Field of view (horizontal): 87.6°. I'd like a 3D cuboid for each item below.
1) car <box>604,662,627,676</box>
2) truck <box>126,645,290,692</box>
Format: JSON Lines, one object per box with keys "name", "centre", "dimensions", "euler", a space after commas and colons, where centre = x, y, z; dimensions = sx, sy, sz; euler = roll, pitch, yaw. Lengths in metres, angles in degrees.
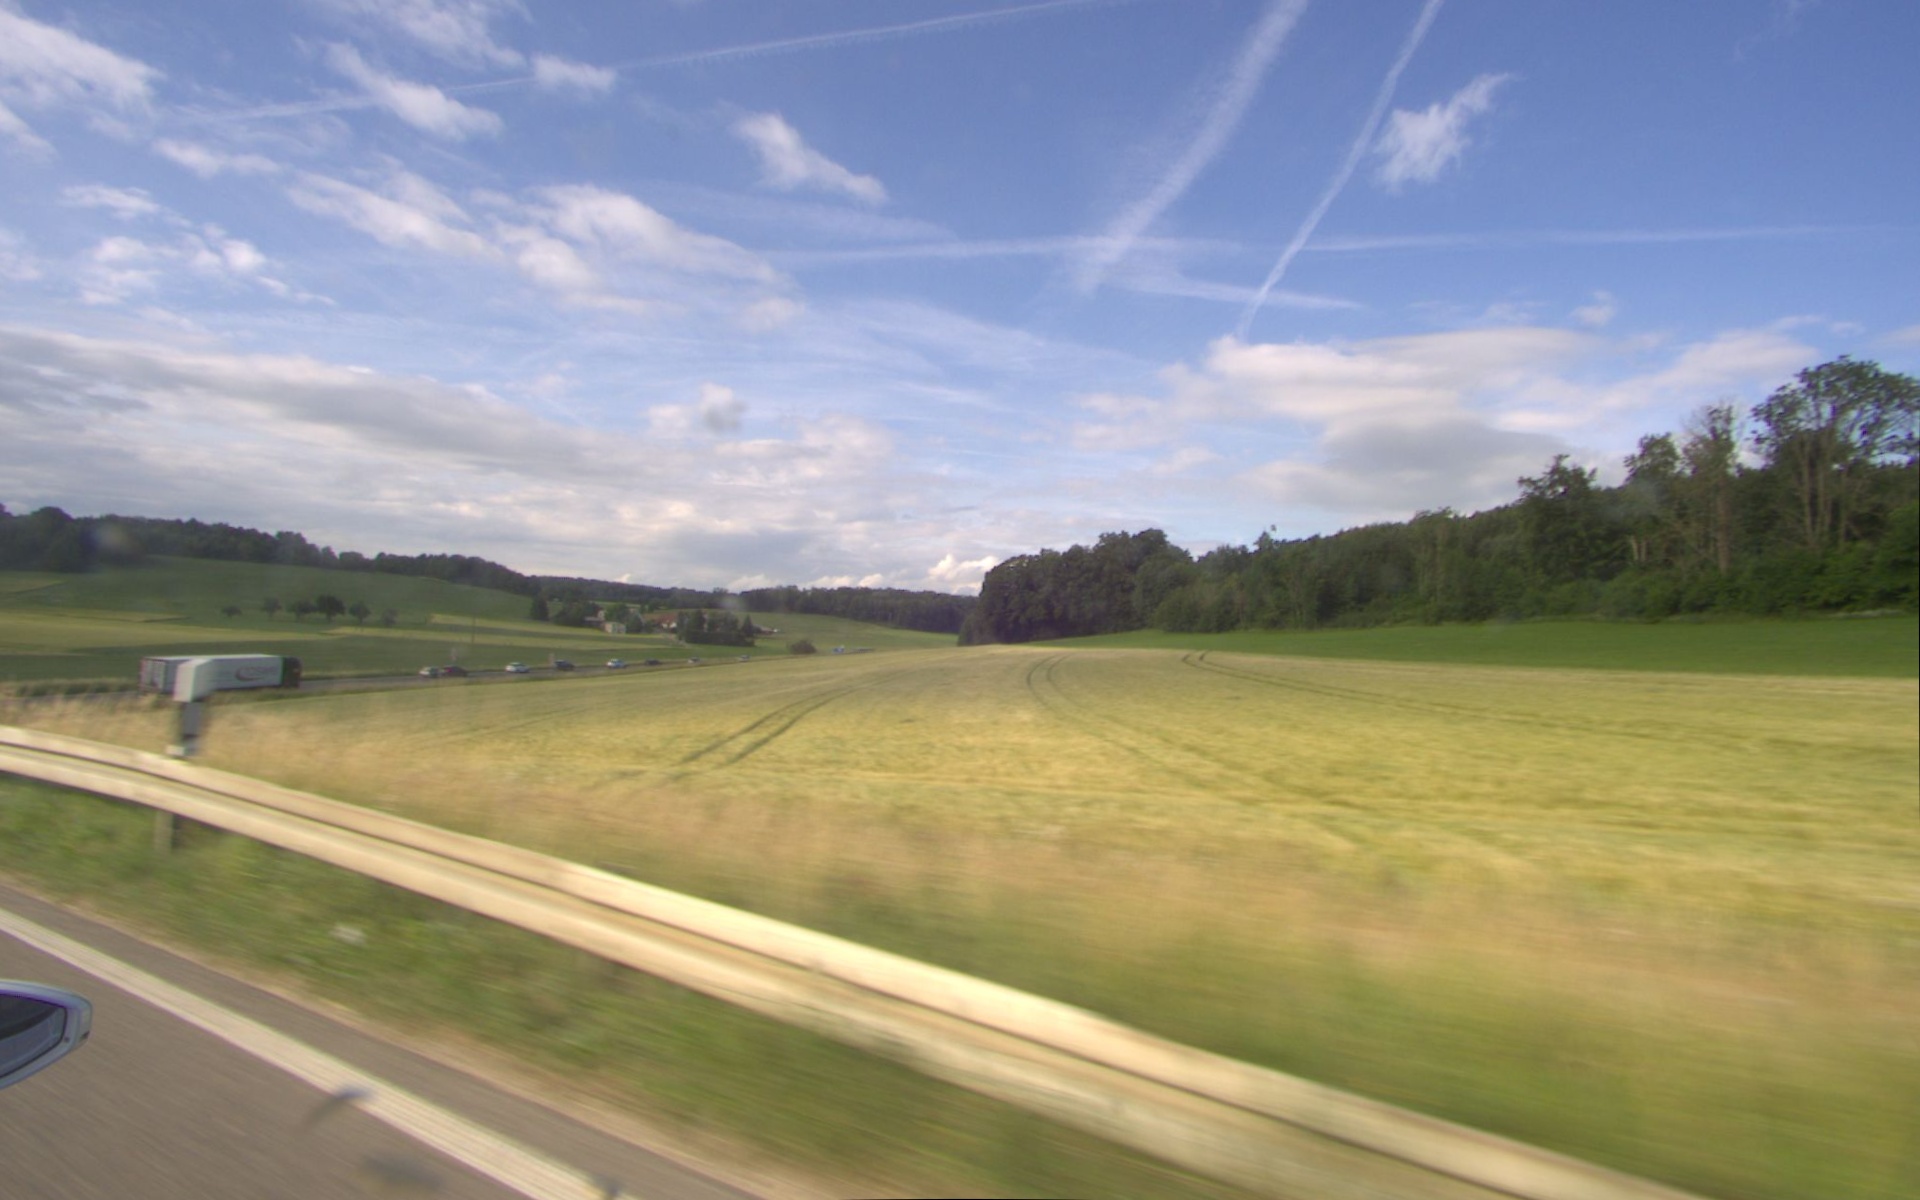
{"name": "car", "centre": [-57.897, 11.598, 168.290], "dimensions": [1.962, 2.039, 4.000], "euler": [-1, -2, 8]}
{"name": "truck", "centre": [-72.687, 6.510, 97.566], "dimensions": [4.001, 4.047, 14.427], "euler": [-1, -2, 6]}
